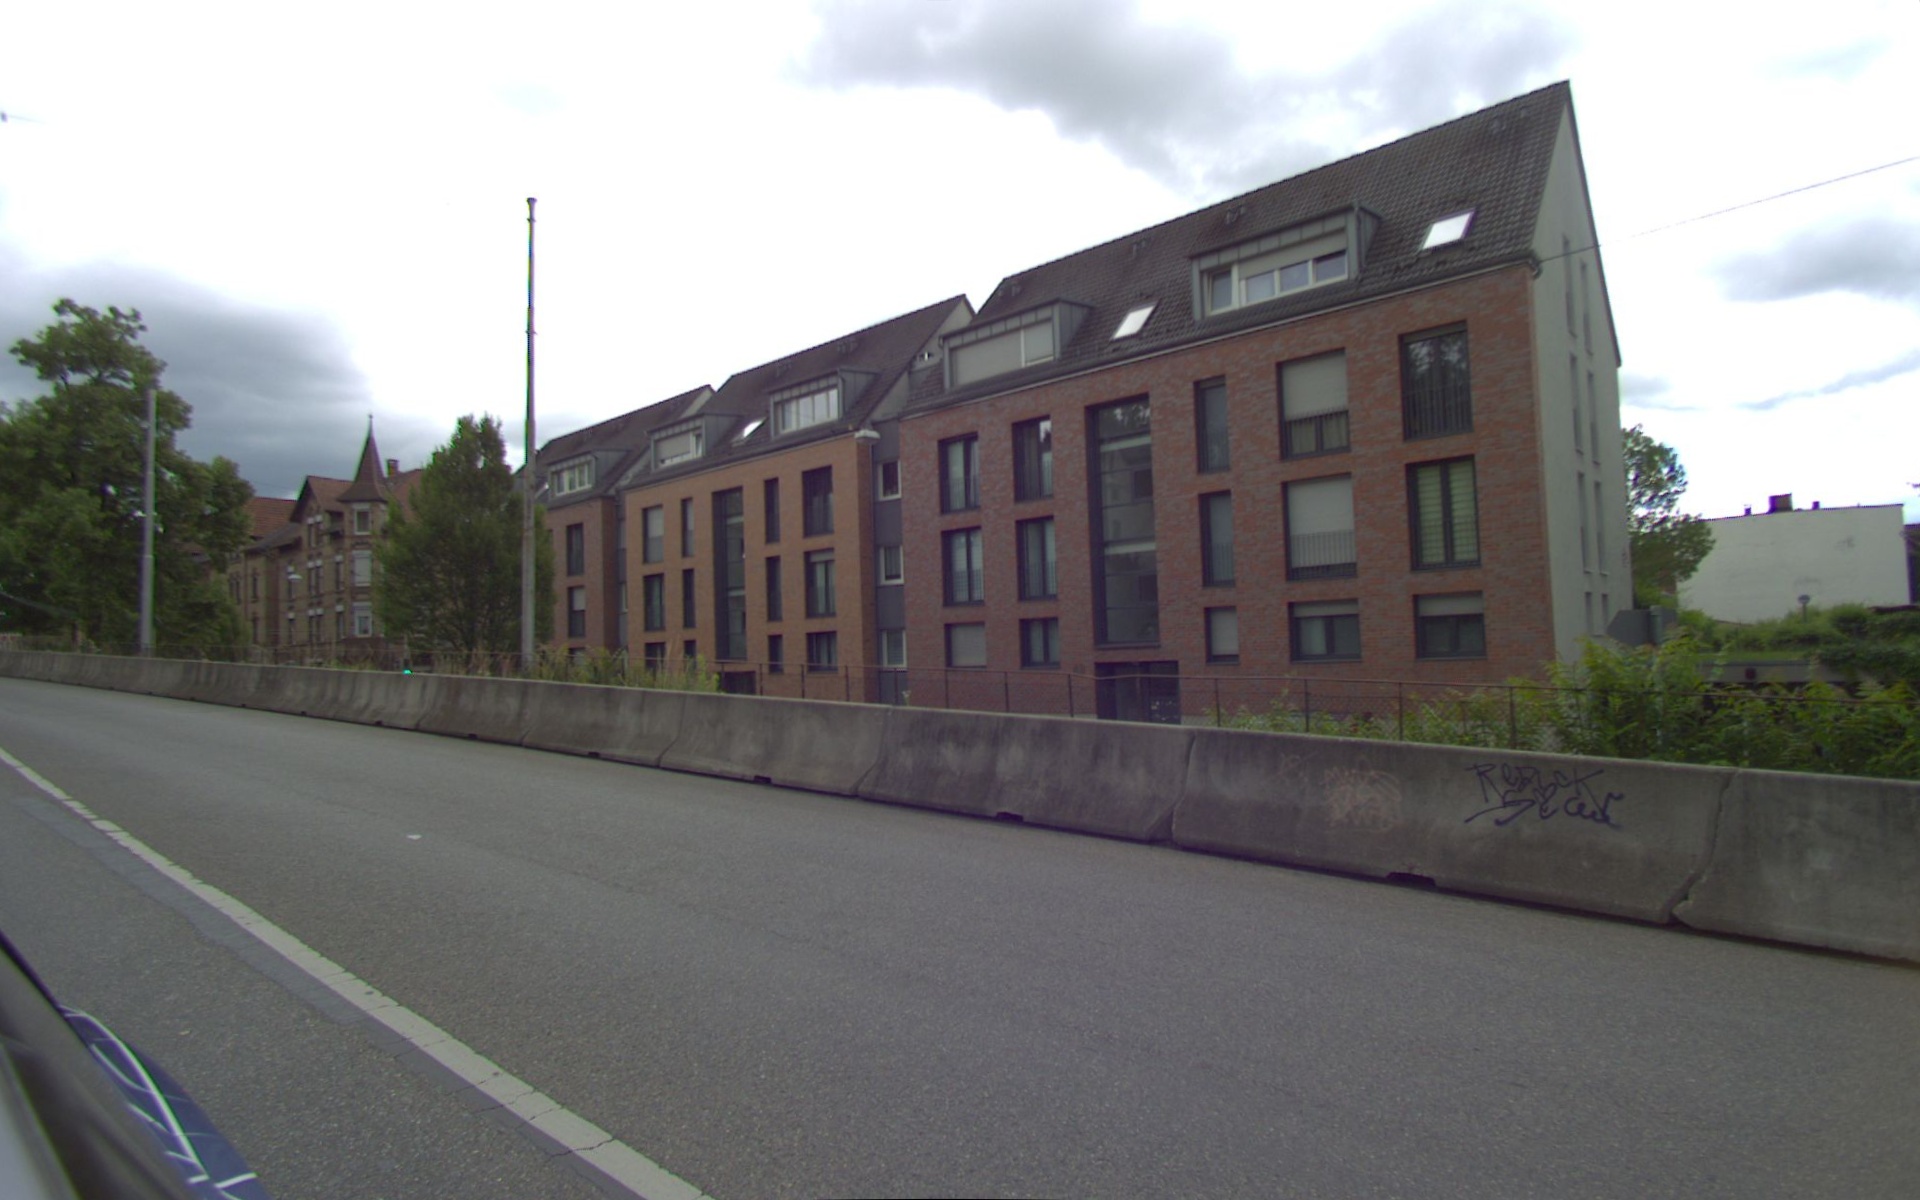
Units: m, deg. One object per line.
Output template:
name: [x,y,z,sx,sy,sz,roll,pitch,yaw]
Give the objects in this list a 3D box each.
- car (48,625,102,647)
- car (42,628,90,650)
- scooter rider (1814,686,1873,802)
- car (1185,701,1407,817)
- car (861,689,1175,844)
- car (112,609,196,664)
car: [-56.037,2.271,64.079,3.997,1.364,1.973,-2,-3,40]
car: [-63.877,2.754,72.288,3.997,1.564,1.973,-1,-2,40]
scooter rider: [13.620,2.198,15.606,0.577,1.718,0.482,-4,-3,41]
car: [6.613,3.048,20.100,3.765,1.815,1.696,-3,-1,41]
car: [0.654,2.052,13.316,3.996,1.525,1.519,-2,-1,39]
car: [-41.014,1.756,51.435,5.735,2.601,2.531,0,0,43]
